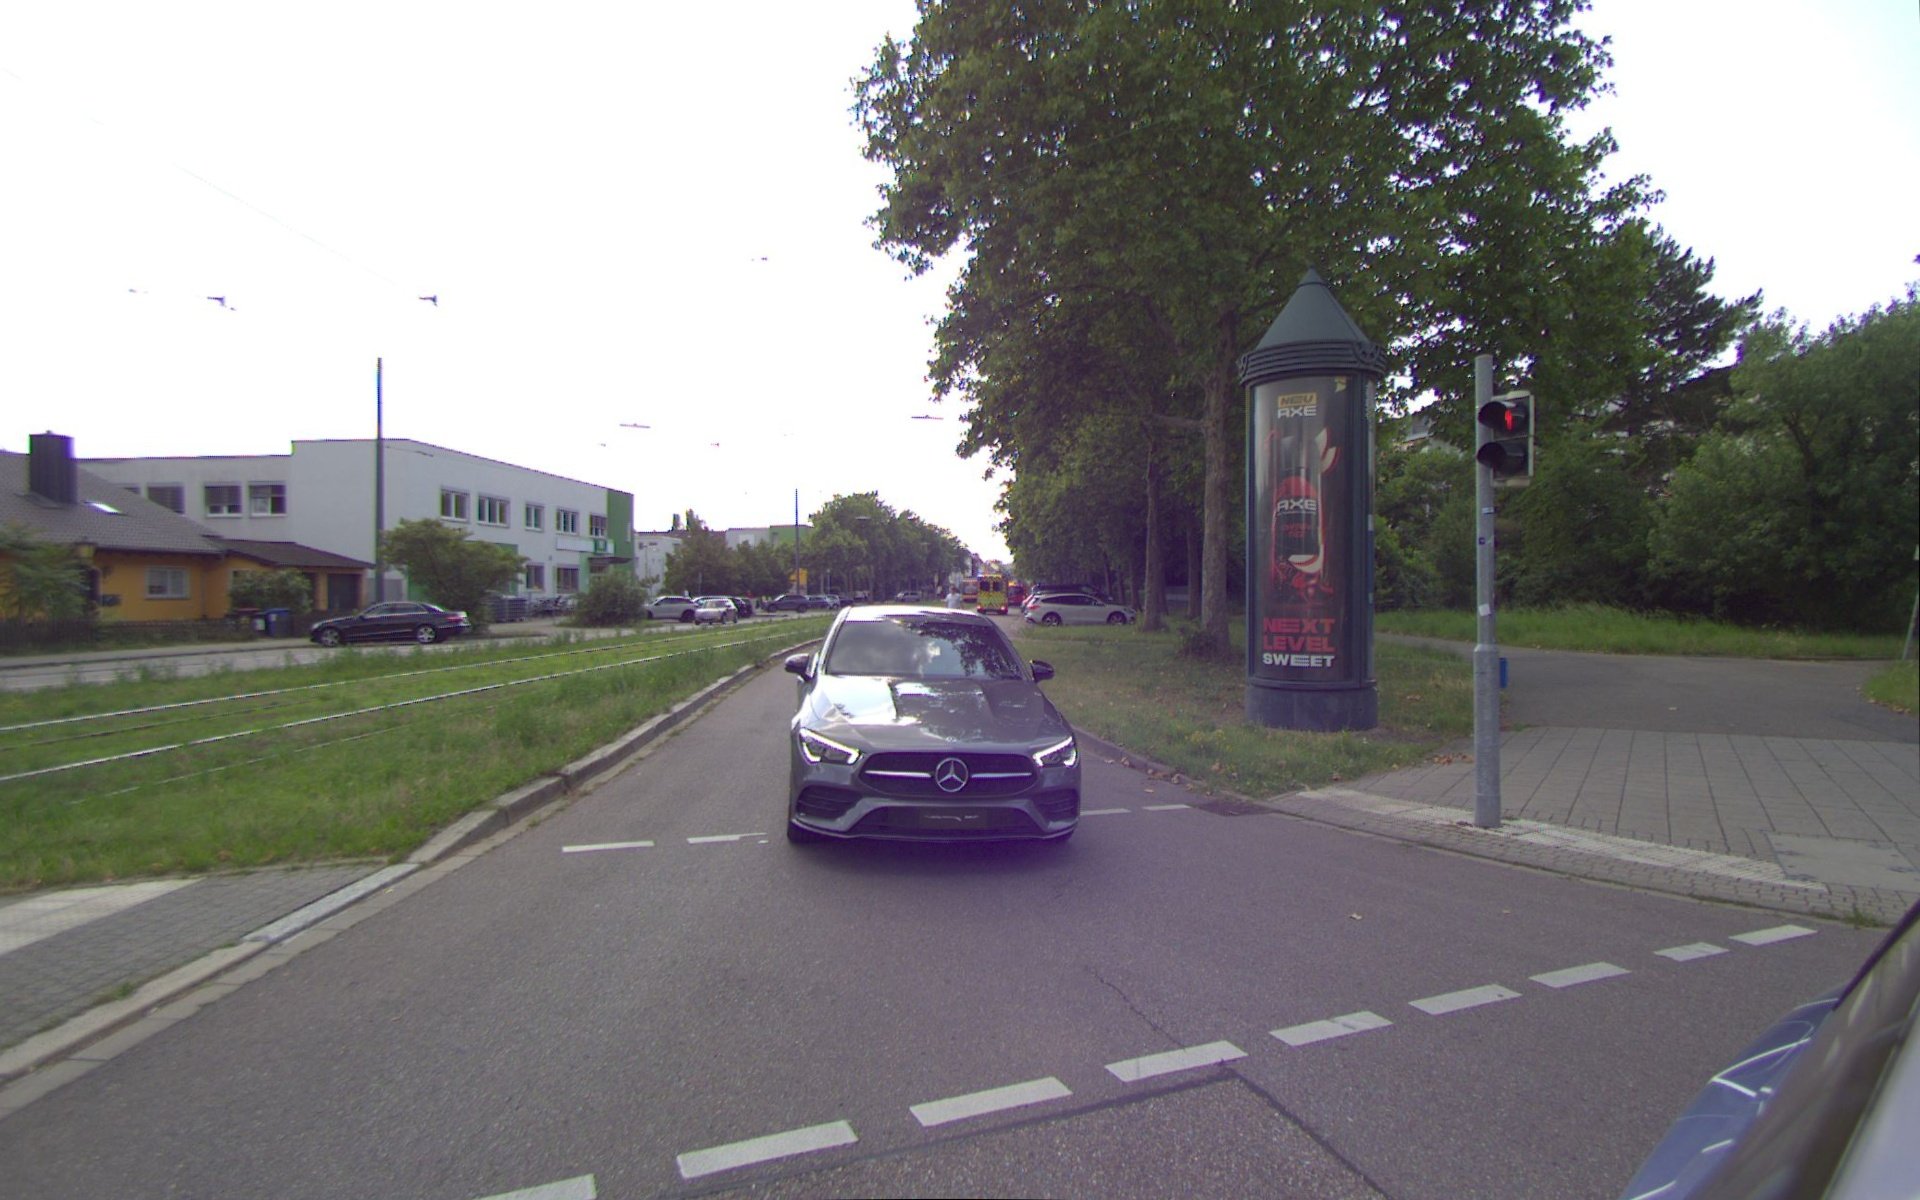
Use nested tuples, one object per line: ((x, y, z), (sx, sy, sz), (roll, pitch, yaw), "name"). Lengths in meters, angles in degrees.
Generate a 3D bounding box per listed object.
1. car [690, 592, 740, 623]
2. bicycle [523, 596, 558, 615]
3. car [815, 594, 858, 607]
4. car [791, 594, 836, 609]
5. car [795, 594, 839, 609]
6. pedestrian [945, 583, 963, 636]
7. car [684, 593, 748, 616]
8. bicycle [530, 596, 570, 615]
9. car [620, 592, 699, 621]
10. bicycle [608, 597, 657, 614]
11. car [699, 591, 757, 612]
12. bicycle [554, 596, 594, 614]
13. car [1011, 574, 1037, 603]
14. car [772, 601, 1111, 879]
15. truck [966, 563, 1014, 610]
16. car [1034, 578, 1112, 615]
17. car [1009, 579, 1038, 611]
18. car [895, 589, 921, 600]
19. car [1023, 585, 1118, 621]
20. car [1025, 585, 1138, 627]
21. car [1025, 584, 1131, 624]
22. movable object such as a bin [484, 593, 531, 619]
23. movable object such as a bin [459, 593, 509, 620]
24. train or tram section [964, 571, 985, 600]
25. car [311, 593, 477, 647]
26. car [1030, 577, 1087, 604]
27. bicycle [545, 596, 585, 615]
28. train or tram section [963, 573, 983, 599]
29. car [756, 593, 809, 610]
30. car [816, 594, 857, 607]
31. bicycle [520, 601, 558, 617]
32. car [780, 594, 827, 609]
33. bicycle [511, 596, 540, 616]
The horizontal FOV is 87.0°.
((-13.566, 0.399, 56.257), (1.865, 1.650, 4.317), (0, 0, -2), "car")
((-24.827, 0.307, 59.907), (1.764, 1.095, 0.736), (0, 0, 3), "bicycle")
((-13.074, 0.027, 106.759), (4.224, 1.381, 1.906), (-1, 0, -17), "car")
((-14.514, 0.148, 100.339), (4.224, 1.381, 1.906), (-1, 0, -17), "car")
((-14.528, 0.144, 102.938), (4.224, 1.381, 1.906), (-1, 0, -17), "car")
((-0.205, 0.300, 33.027), (0.484, 1.705, 0.588), (0, -1, -11), "pedestrian")
((-16.716, 0.308, 69.329), (4.083, 1.523, 1.864), (0, 0, -22), "car")
((-25.687, 0.343, 63.419), (2.314, 1.180, 0.758), (0, 0, 11), "bicycle")
((-17.898, 0.371, 60.242), (4.228, 1.650, 1.904), (-1, 0, -28), "car")
((-23.301, 0.386, 72.050), (3.085, 1.180, 1.142), (0, 0, 1), "bicycle")
((-17.302, 0.087, 75.484), (4.082, 1.523, 1.864), (0, 0, -17), "car")
((-24.945, 0.303, 65.400), (2.353, 1.129, 0.794), (0, 0, 12), "bicycle")
((7.735, -1.353, 122.622), (2.921, 3.372, 7.452), (1, 0, 3), "car")
((-0.443, 0.741, 7.674), (1.803, 1.411, 4.613), (1, 0, -9), "car")
((2.375, -1.015, 77.262), (3.138, 3.359, 7.512), (0, 0, 6), "truck")
((6.587, -0.195, 59.183), (4.477, 2.039, 1.997), (-1, 0, 6), "car")
((6.861, -0.522, 109.846), (2.921, 3.359, 7.452), (1, 0, 3), "car")
((-9.004, -0.984, 175.078), (3.917, 1.861, 1.825), (2, 0, -27), "car")
((5.347, 0.159, 49.499), (4.460, 1.665, 1.998), (0, -1, 3), "car")
((4.942, 0.244, 41.747), (4.460, 1.665, 1.998), (0, -1, 3), "car")
((5.093, 0.180, 44.326), (4.460, 1.665, 1.998), (0, -1, 3), "car")
((-24.087, 0.308, 53.947), (1.354, 1.343, 2.126), (0, 0, 9), "movable object such as a bin")
((-24.331, 0.304, 51.775), (1.354, 1.343, 2.112), (0, 0, 9), "movable object such as a bin")
((1.894, -1.931, 133.831), (2.448, 3.641, 7.423), (0, 1, -1), "train or tram section")
((-18.949, 0.629, 34.092), (4.484, 1.600, 2.004), (-2, 1, -15), "car")
((13.175, -1.223, 135.746), (7.318, 3.372, 2.975), (2, 0, 0), "car")
((-25.165, 0.360, 64.512), (2.381, 1.180, 0.746), (0, 0, 13), "bicycle")
((1.777, -1.948, 141.231), (2.448, 3.641, 7.423), (0, 1, -1), "train or tram section")
((-15.181, 0.149, 86.752), (4.224, 1.381, 1.906), (-1, 0, -19), "car")
((-13.642, 0.004, 111.424), (4.224, 1.381, 1.906), (-1, 0, -17), "car")
((-25.988, 0.537, 62.534), (2.124, 0.982, 0.729), (0, 0, 10), "bicycle")
((-15.010, 0.142, 97.055), (4.224, 1.381, 1.906), (-1, 0, -17), "car")
((-26.183, 0.364, 61.015), (1.602, 1.180, 0.701), (0, 0, 22), "bicycle")
